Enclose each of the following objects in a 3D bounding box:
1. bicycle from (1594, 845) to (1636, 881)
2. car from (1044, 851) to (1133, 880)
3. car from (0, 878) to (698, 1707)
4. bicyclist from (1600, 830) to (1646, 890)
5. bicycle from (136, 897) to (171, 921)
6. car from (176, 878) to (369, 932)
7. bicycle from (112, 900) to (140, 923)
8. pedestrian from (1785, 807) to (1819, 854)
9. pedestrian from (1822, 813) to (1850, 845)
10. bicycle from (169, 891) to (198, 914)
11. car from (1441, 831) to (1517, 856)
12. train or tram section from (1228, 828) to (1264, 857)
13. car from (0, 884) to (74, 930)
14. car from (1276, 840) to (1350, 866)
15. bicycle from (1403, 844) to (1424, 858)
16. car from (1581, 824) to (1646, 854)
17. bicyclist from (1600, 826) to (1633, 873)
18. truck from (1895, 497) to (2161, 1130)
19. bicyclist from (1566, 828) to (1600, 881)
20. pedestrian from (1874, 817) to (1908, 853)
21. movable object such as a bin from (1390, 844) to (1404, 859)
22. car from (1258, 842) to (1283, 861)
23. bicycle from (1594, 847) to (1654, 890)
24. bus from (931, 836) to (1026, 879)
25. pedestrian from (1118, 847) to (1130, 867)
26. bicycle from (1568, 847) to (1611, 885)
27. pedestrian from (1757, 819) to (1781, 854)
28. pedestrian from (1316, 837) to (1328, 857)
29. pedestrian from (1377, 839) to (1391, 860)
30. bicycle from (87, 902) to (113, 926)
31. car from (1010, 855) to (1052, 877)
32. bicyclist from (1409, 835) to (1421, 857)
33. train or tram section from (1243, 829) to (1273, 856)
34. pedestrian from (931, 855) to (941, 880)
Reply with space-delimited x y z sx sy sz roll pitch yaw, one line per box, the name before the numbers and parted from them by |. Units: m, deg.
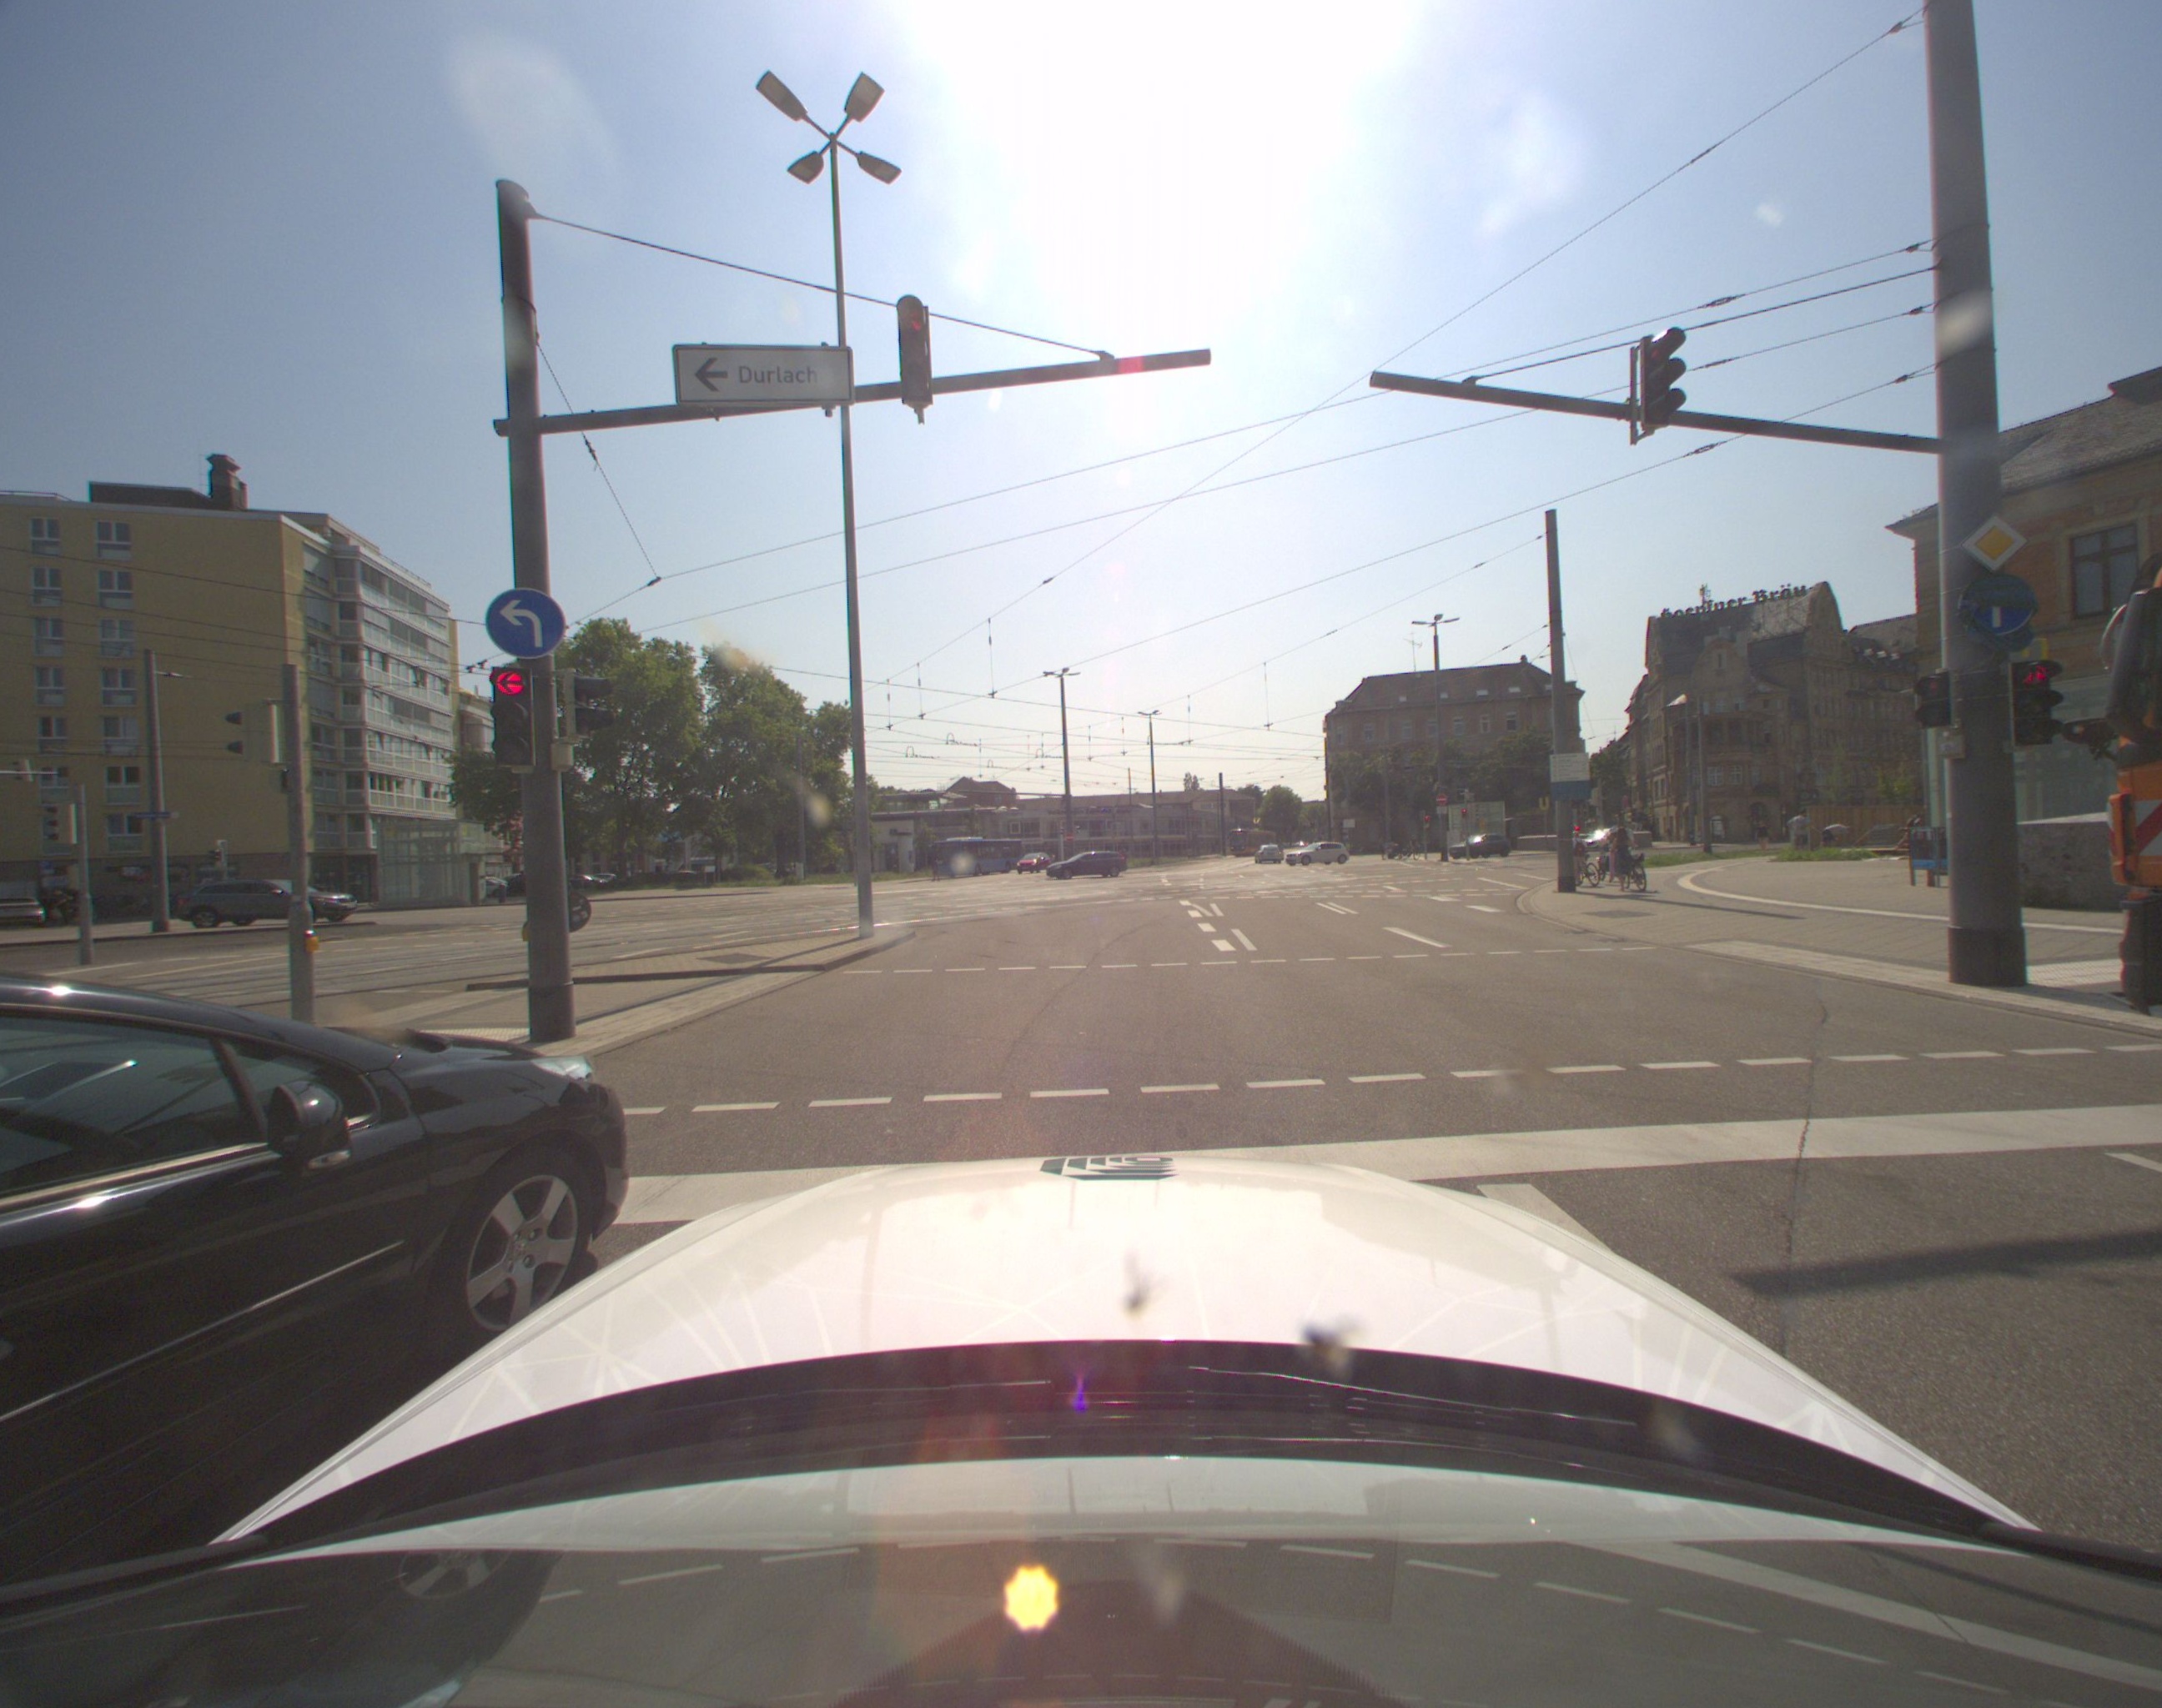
bicycle | 16.333 0.257 24.960 0.532 1.055 1.660 -2 0 14
car | 0.405 0.641 46.544 4.766 1.415 1.765 -2 0 -18
car | -2.682 0.812 1.594 1.757 1.388 3.787 -1 0 6
bicyclist | 14.101 0.147 21.188 0.730 1.517 0.665 -2 0 6
bicycle | -50.580 2.983 44.400 3.220 1.204 0.916 -3 0 36
car | -28.683 1.779 29.056 4.535 1.600 1.763 -2 0 -14
bicycle | -51.887 3.115 44.232 3.220 1.204 0.699 -3 0 36
pedestrian | 27.110 -0.883 30.624 0.549 1.724 0.812 -2 0 -39
pedestrian | 29.634 -0.982 31.979 0.658 1.214 0.531 -2 0 30
bicycle | -49.181 2.660 44.630 3.220 1.204 0.699 -3 0 36
car | 27.370 -0.692 55.959 4.624 1.505 1.987 -2 0 -19
train or tram section | 21.284 -1.476 104.416 2.566 3.516 10.955 -2 0 21
car | -48.597 2.431 37.967 3.949 1.925 1.815 -2 0 42
car | 14.605 -0.076 51.208 4.201 1.415 1.765 -2 0 -19
bicycle | 24.396 -0.214 59.825 0.470 1.055 1.643 -2 0 -18
car | 40.006 -1.117 61.172 4.635 2.013 1.983 -2 0 -26
bicyclist | 16.214 -0.144 24.653 0.526 1.393 0.897 -2 0 14
truck | 6.447 -0.222 1.907 2.481 3.134 6.869 -2 0 4
bicyclist | 14.610 0.016 23.721 0.623 1.517 0.715 -2 0 14
pedestrian | 31.968 -0.749 32.148 0.768 1.399 0.687 -2 0 -23
movable object such as a bin | 23.988 -0.203 61.840 0.812 1.077 0.510 -2 0 -9
car | 15.056 -0.241 64.714 1.758 1.415 4.204 -2 0 13
bicycle | 14.125 0.359 21.225 0.489 1.055 1.826 -2 0 7
bus | -8.122 0.208 66.981 2.541 3.082 12.082 -3 0 19
pedestrian | 3.119 0.221 59.178 0.678 1.443 0.364 -2 0 -15
bicycle | 14.592 0.324 23.397 0.532 1.055 1.660 -2 0 14
pedestrian | 31.676 -0.787 37.496 0.794 1.575 0.729 -2 0 -44
pedestrian | 19.790 -0.562 66.899 0.699 1.603 0.572 -2 0 -6
pedestrian | 23.120 -0.370 62.151 0.849 1.545 0.527 -2 0 -6
bicycle | -52.872 3.204 43.880 2.754 1.204 0.699 -3 0 36
car | -3.836 0.941 63.595 1.735 1.552 4.020 -3 0 20
bicyclist | 24.454 -0.576 59.650 0.614 1.528 0.517 -2 0 -22
train or tram section | 24.927 -1.583 114.093 2.566 3.516 9.709 -2 0 21
pedestrian | -10.089 0.922 56.638 0.554 1.684 0.451 -2 0 -17
